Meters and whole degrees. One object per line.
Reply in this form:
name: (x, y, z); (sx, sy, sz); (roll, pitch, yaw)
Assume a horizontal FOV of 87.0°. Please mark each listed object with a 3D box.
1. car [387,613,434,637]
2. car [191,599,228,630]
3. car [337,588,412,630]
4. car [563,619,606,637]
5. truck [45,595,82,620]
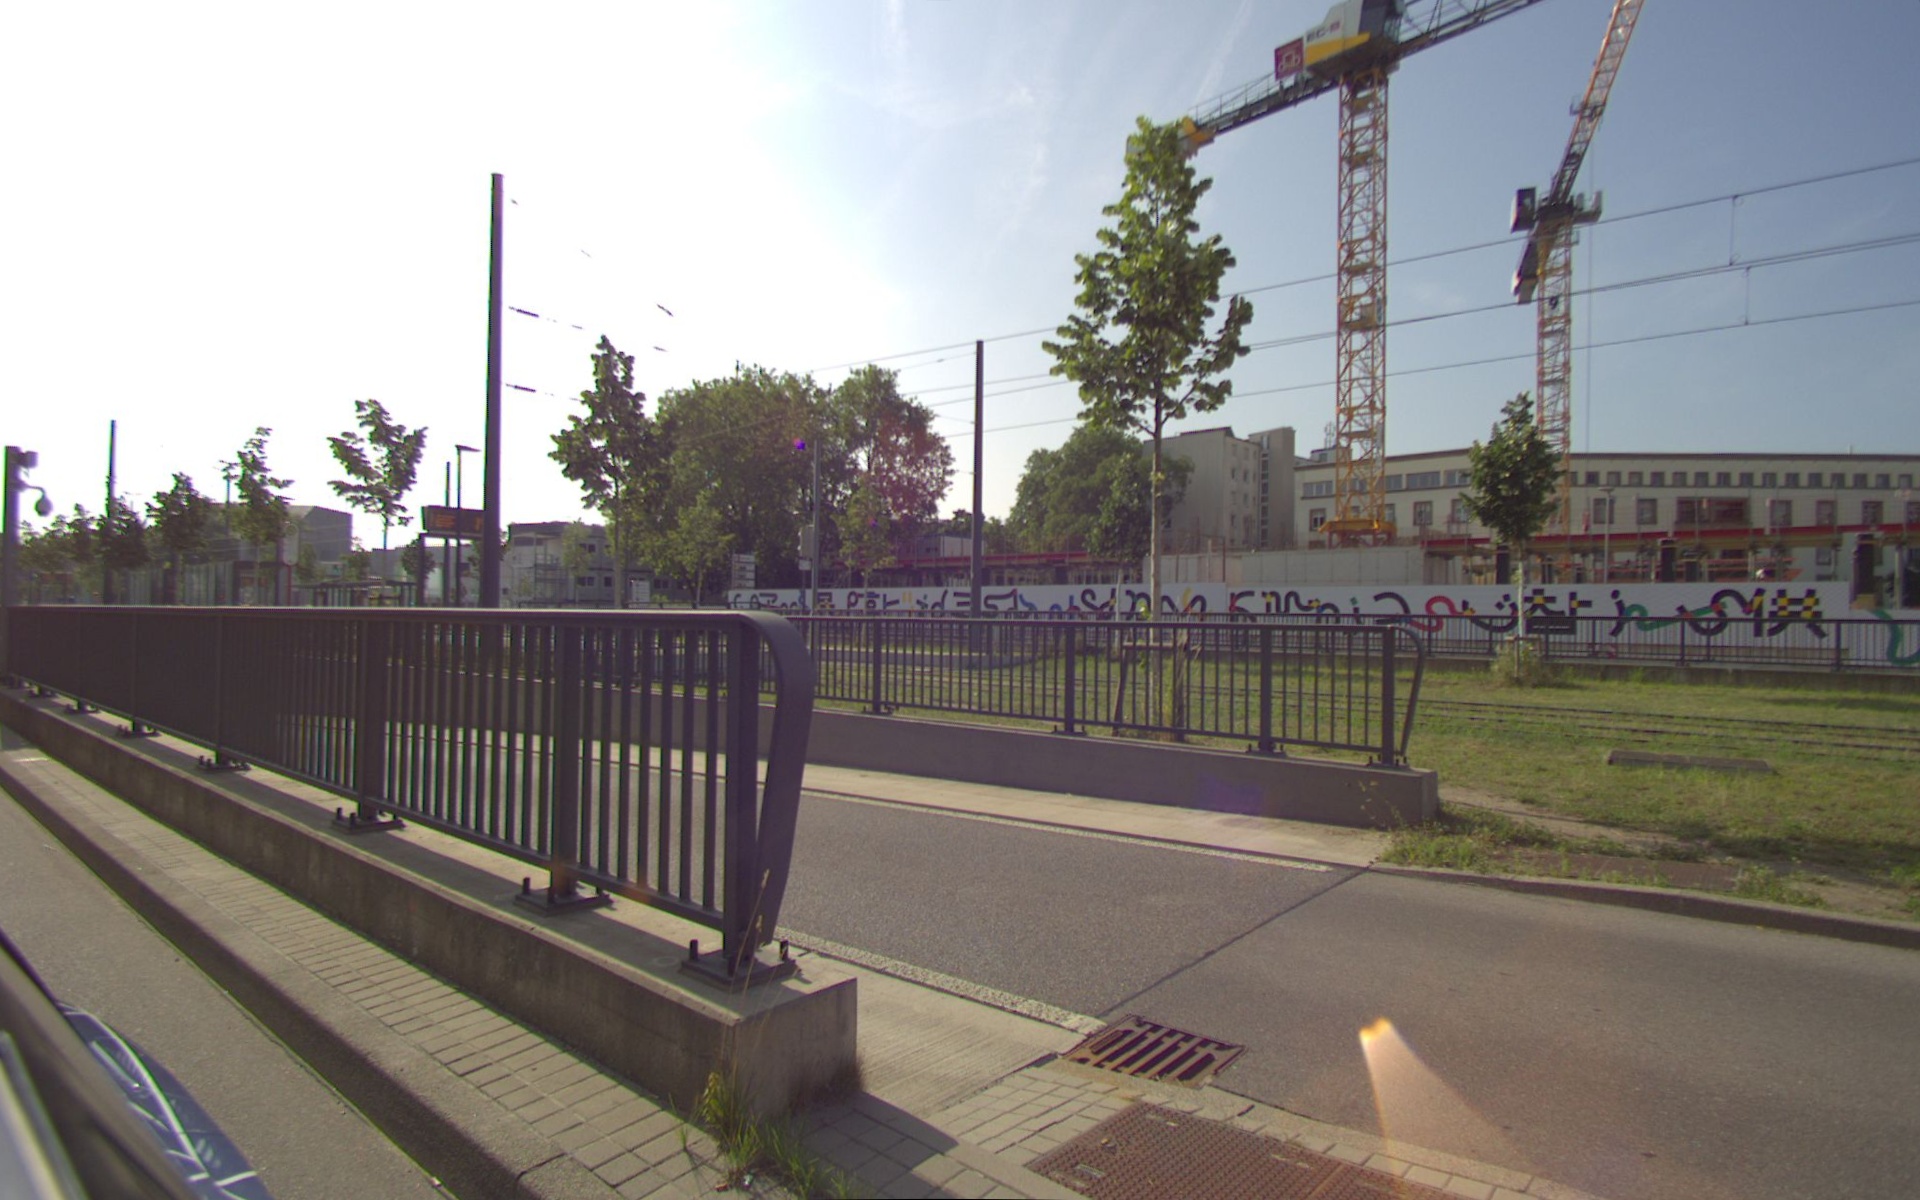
car: (-40.228, 1.832, 74.082); (4.149, 1.675, 1.702); (-1, -2, 42)
car: (-87.543, 1.655, 117.981); (6.149, 3.543, 2.121); (-1, -2, 41)
car: (-52.218, 0.815, 90.133); (9.229, 3.539, 3.022); (-1, -1, 41)
car: (-25.237, 1.855, 67.924); (2.959, 1.211, 1.485); (-1, -1, 41)
truck: (-136.966, 1.244, 154.589); (8.886, 3.614, 2.989); (-1, -3, 41)
